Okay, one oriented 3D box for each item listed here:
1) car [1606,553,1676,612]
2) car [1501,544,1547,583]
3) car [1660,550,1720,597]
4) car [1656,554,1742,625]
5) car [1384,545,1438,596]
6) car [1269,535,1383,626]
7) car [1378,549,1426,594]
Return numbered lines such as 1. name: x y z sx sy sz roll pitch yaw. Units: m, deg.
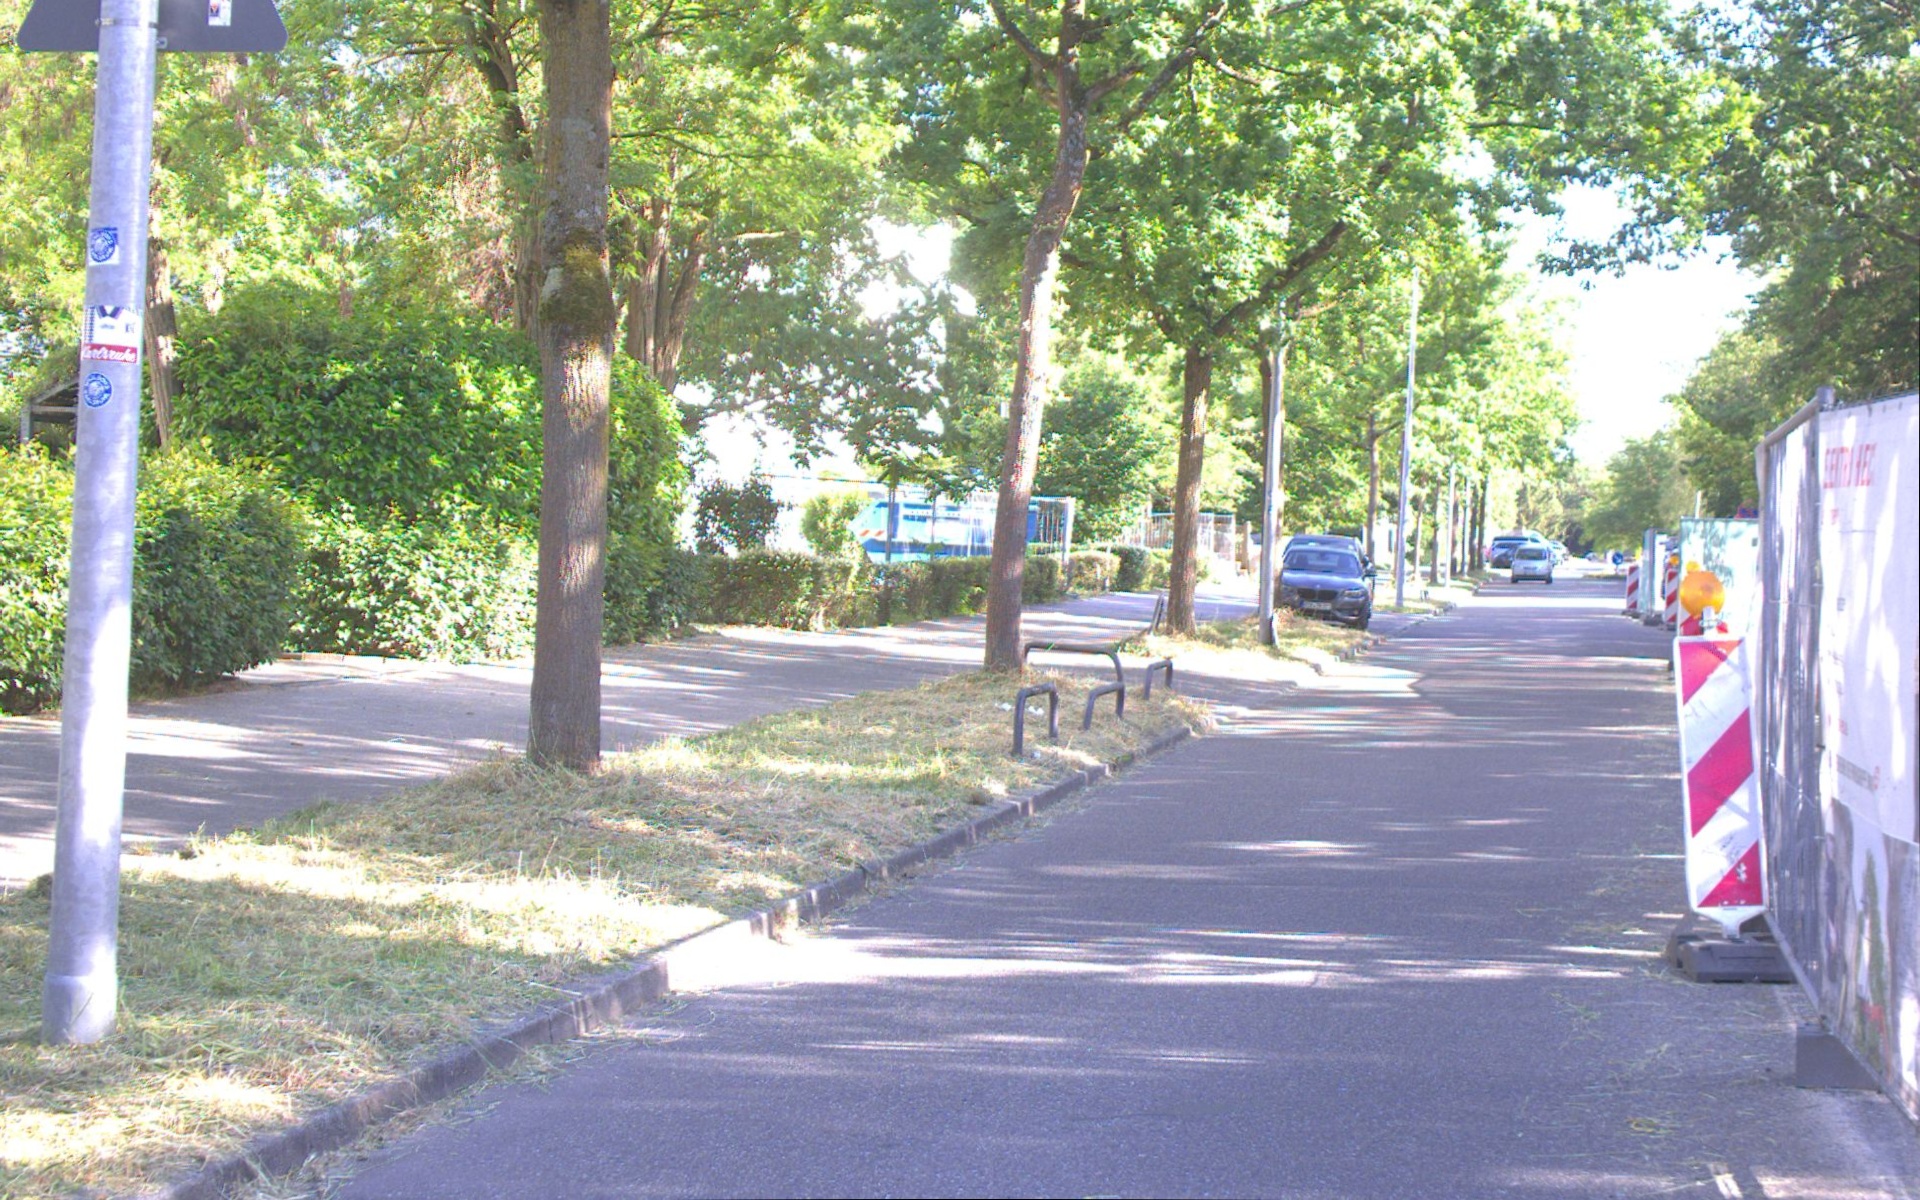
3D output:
1. car: 16.229 -0.425 82.002 1.362 1.297 3.480 4 1 8
2. car: 24.556 -1.565 149.824 1.711 1.579 3.999 3 1 7
3. car: 23.636 -0.876 111.284 1.795 1.405 3.998 3 1 12
4. car: 14.819 -0.215 69.082 1.362 1.297 3.480 4 1 8
5. car: 12.535 -0.810 95.444 1.362 1.297 3.480 4 1 8
6. car: 6.487 -0.368 60.694 1.751 1.473 3.835 3 1 9
7. car: 13.779 -0.876 107.137 1.362 1.297 3.480 4 1 8
